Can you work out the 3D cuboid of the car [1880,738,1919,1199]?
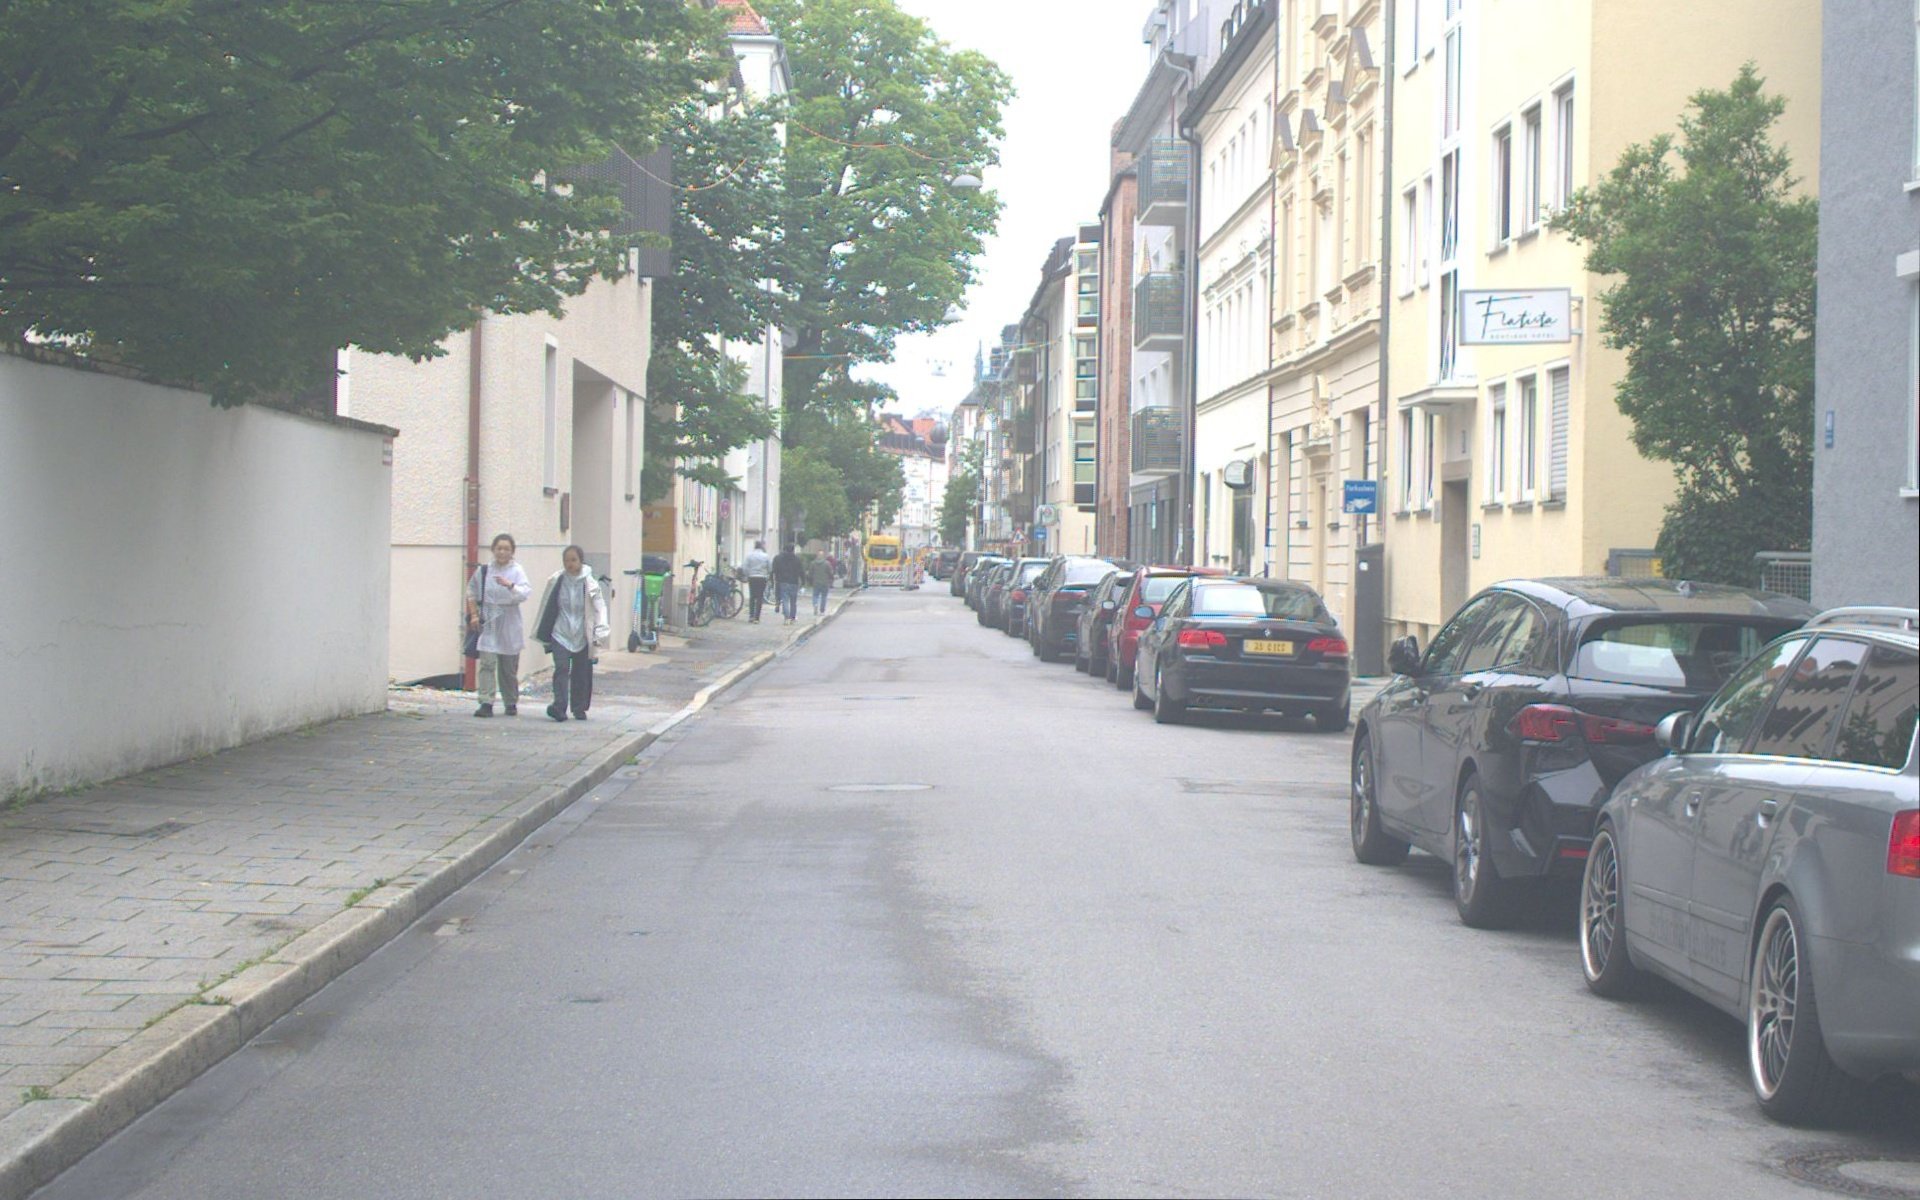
[{"bbox_3d":[3.108,0.819,5.933,1.769,1.441,4.344,5,1,0],"label":"car"}]

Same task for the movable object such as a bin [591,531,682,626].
[{"bbox_3d":[-5.395,-0.367,57.408,1.174,1.437,1.248,6,2,5],"label":"movable object such as a bin"}]

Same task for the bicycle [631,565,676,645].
[{"bbox_3d":[-4.639,0.068,52.148,0.544,1.157,1.882,3,1,-3],"label":"bicycle"}]

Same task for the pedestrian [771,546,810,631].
[{"bbox_3d":[-3.623,-0.245,73.447,0.718,1.759,0.838,3,0,-1],"label":"pedestrian"}]

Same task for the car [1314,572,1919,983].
[{"bbox_3d":[2.894,0.680,15.485,1.841,1.423,4.264,5,1,-3],"label":"car"}]

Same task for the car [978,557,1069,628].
[{"bbox_3d":[1.428,-0.187,78.987,1.839,1.523,4.293,2,1,-2],"label":"car"}]

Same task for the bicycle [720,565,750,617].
[{"bbox_3d":[-5.042,-0.207,77.072,0.561,1.155,1.721,1,0,-7],"label":"bicycle"}]

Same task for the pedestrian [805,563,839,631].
[{"bbox_3d":[-3.479,-0.075,86.637,0.753,1.653,0.906,3,0,-1],"label":"pedestrian"}]

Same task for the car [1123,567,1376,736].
[{"bbox_3d":[2.685,0.438,32.825,1.825,1.330,4.509,5,1,-1],"label":"car"}]

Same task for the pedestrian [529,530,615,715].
[{"bbox_3d":[-3.398,0.194,30.165,0.622,1.573,0.714,2,0,-1],"label":"pedestrian"}]

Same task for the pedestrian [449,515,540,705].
[{"bbox_3d":[-4.089,0.088,30.241,0.613,1.615,0.687,4,0,-1],"label":"pedestrian"}]

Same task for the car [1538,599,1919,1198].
[{"bbox_3d":[3.112,0.796,10.624,1.790,1.396,4.485,5,1,0],"label":"car"}]

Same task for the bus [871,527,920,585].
[{"bbox_3d":[-3.480,-2.341,185.997,2.592,3.091,6.306,0,0,-1],"label":"bus"}]

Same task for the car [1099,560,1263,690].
[{"bbox_3d":[2.690,0.272,42.515,1.676,1.487,3.854,1,1,-1],"label":"car"}]

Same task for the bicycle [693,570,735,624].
[{"bbox_3d":[-4.818,-0.065,67.215,0.703,0.981,1.823,5,0,-5],"label":"bicycle"}]

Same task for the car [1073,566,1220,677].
[{"bbox_3d":[2.501,0.264,46.954,1.676,1.388,4.066,1,1,-1],"label":"car"}]

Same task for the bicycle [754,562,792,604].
[{"bbox_3d":[-5.448,-0.496,100.034,0.641,1.213,1.665,0,0,-20],"label":"bicycle"}]

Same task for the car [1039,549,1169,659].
[{"bbox_3d":[2.202,0.033,53.638,1.702,1.601,4.685,1,1,-1],"label":"car"}]

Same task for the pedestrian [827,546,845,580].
[{"bbox_3d":[-5.334,-1.585,147.814,0.756,1.486,0.831,0,0,-1],"label":"pedestrian"}]

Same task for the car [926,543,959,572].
[{"bbox_3d":[-1.145,-2.720,218.261,1.801,1.706,3.827,5,1,-3],"label":"car"}]

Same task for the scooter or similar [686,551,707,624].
[{"bbox_3d":[-5.017,-0.244,65.479,0.317,1.371,1.239,0,0,-1],"label":"scooter or similar"}]

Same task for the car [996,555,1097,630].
[{"bbox_3d":[1.827,-0.185,74.104,1.875,1.565,4.317,0,1,-3],"label":"car"}]

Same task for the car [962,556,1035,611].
[{"bbox_3d":[1.147,-0.521,103.682,1.885,1.550,4.392,2,1,-3],"label":"car"}]

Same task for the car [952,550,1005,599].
[{"bbox_3d":[0.729,-1.046,140.333,1.801,1.814,4.001,5,1,-3],"label":"car"}]

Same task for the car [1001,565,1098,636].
[{"bbox_3d":[1.775,-0.005,69.185,1.808,1.358,3.945,0,1,0],"label":"car"}]

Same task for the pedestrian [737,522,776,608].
[{"bbox_3d":[-4.340,-0.749,73.351,0.718,1.790,0.917,3,0,-1],"label":"pedestrian"}]

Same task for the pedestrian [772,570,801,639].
[{"bbox_3d":[-4.391,0.111,86.911,0.612,1.708,0.823,3,0,-1],"label":"pedestrian"}]

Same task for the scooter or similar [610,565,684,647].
[{"bbox_3d":[-4.558,0.093,50.084,0.552,1.140,1.357,4,0,16],"label":"scooter or similar"}]

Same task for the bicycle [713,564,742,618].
[{"bbox_3d":[-5.093,-0.200,75.355,0.458,1.155,1.605,3,0,0],"label":"bicycle"}]
